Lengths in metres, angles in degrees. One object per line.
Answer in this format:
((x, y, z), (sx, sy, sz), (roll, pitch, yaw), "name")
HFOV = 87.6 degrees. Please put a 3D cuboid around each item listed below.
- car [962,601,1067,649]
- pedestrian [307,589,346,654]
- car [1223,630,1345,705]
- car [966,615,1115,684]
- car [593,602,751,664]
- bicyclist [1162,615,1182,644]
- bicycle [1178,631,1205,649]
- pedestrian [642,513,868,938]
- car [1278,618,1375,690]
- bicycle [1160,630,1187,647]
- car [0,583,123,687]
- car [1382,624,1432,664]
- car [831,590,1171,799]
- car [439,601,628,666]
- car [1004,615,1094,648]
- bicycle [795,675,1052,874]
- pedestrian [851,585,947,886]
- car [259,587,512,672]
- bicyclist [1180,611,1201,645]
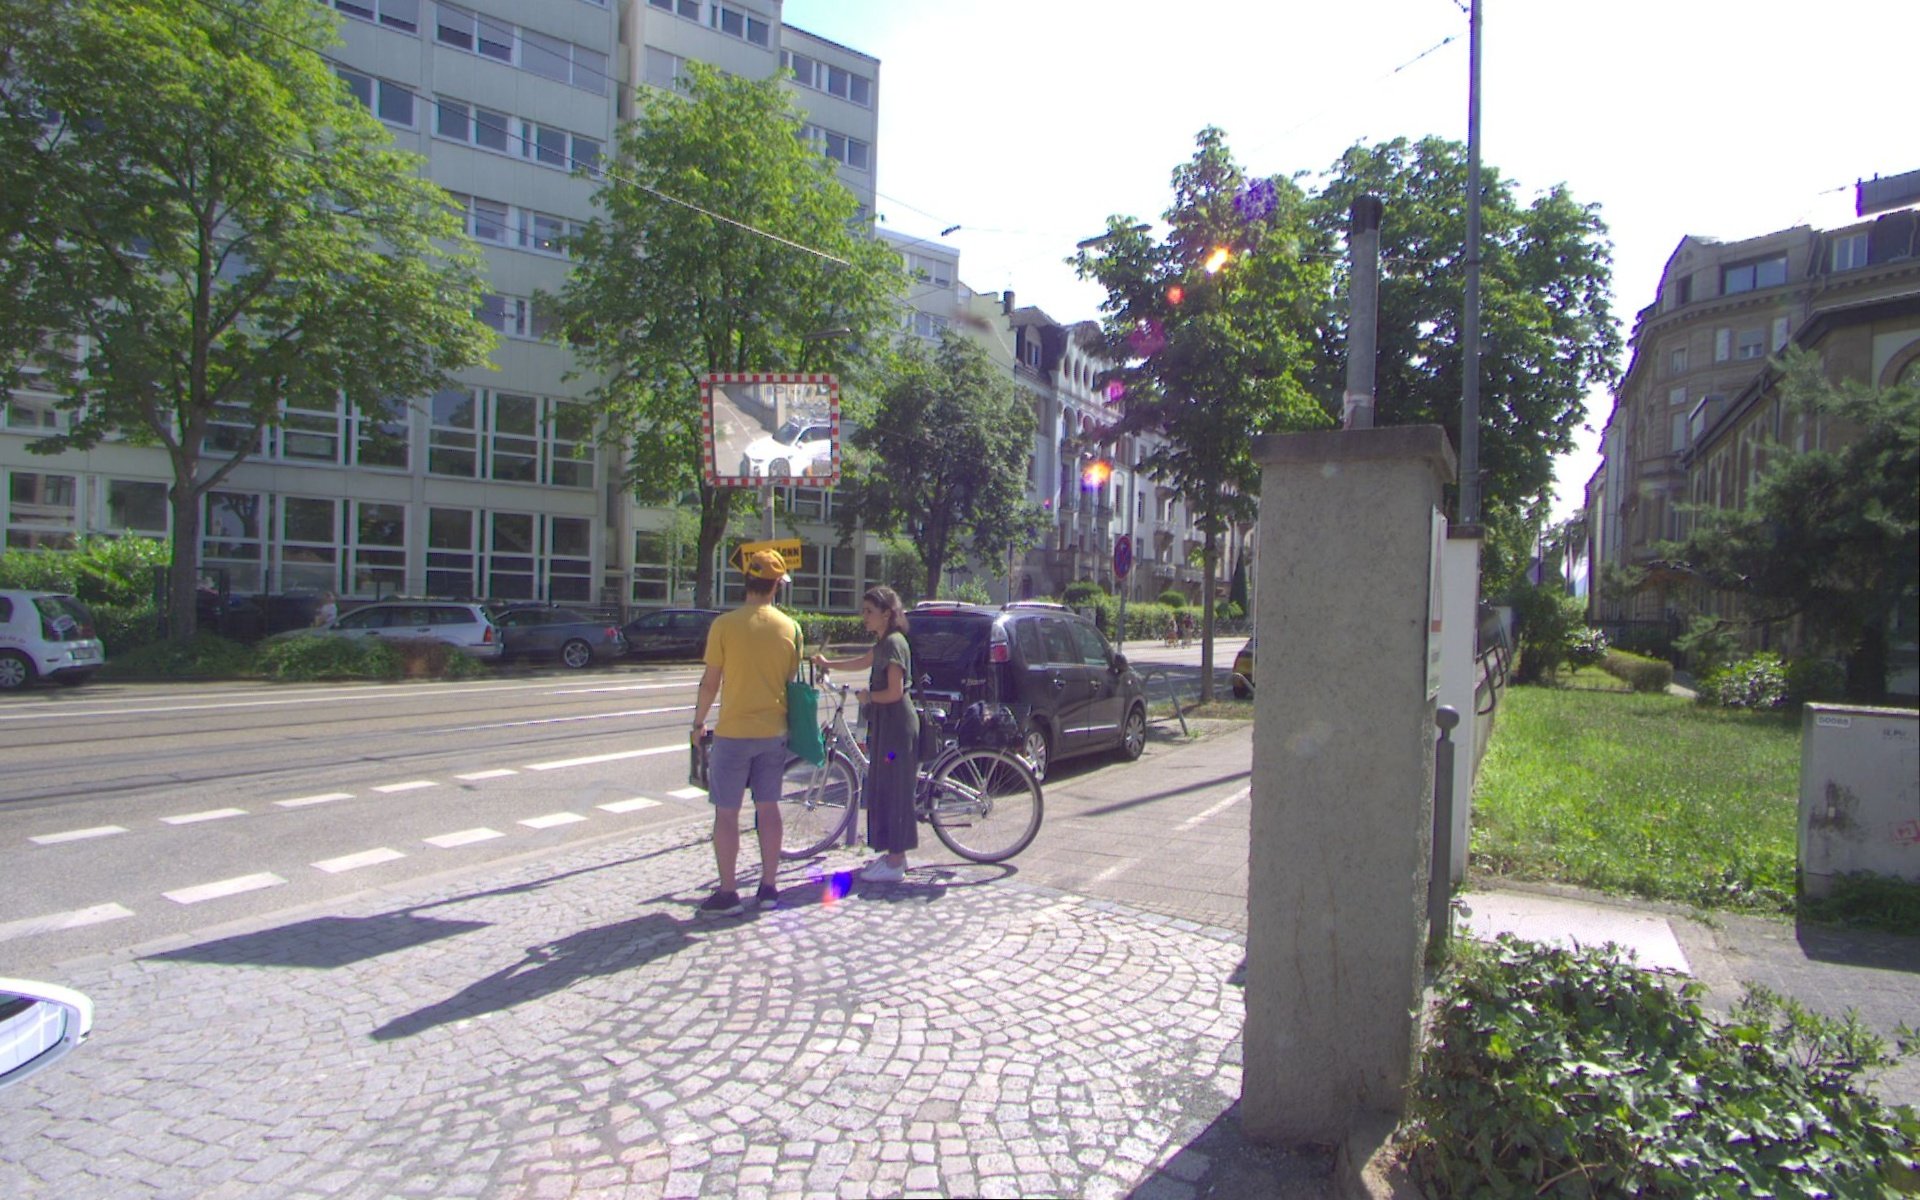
((2.296, 1.052, 42.540), (3.935, 1.884, 1.993), (2, 0, -23), "car")
((-14.668, 0.488, 23.201), (0.417, 1.480, 0.620), (2, 0, 27), "pedestrian")
((7.208, 1.406, 22.040), (1.828, 1.430, 3.985), (1, -1, 28), "car")
((2.079, 1.140, 24.333), (1.863, 1.426, 4.575), (3, 0, 29), "car")
((-7.551, 0.865, 26.446), (3.875, 1.505, 1.556), (2, 0, -16), "car")
((11.593, 1.596, 54.757), (0.793, 1.563, 0.860), (2, 0, 33), "bicyclist")
((12.472, 2.134, 53.893), (0.670, 0.929, 2.309), (2, 0, 32), "bicycle")
((-1.043, 0.572, 5.027), (0.842, 1.889, 0.825), (2, 0, -31), "pedestrian")
((9.749, 1.371, 26.460), (1.828, 1.702, 3.985), (1, -1, 28), "car")
((11.728, 2.105, 54.912), (0.670, 0.929, 2.309), (2, 0, 32), "bicycle")
((-15.149, 0.486, 14.841), (3.874, 1.505, 1.610), (1, 0, -15), "car")
((20.849, 2.021, 46.620), (1.828, 1.702, 3.985), (1, -1, 28), "car")
((0.636, 0.831, 10.443), (1.829, 1.706, 3.981), (1, -1, 31), "car")
((-9.888, 0.785, 23.488), (3.875, 1.375, 1.556), (2, 0, -16), "car")
((4.335, 1.538, 49.197), (3.929, 1.528, 1.997), (2, -1, -16), "car")
((-0.217, 1.022, 6.057), (1.484, 1.055, 0.363), (2, 0, 12), "bicycle")
((-0.343, 0.751, 5.744), (0.445, 1.642, 0.422), (-1, -1, 12), "pedestrian")
((-11.726, 0.630, 20.741), (4.270, 1.625, 1.555), (2, -1, -19), "car")
((12.394, 1.509, 53.848), (0.793, 1.825, 0.860), (2, 0, 33), "bicyclist")
